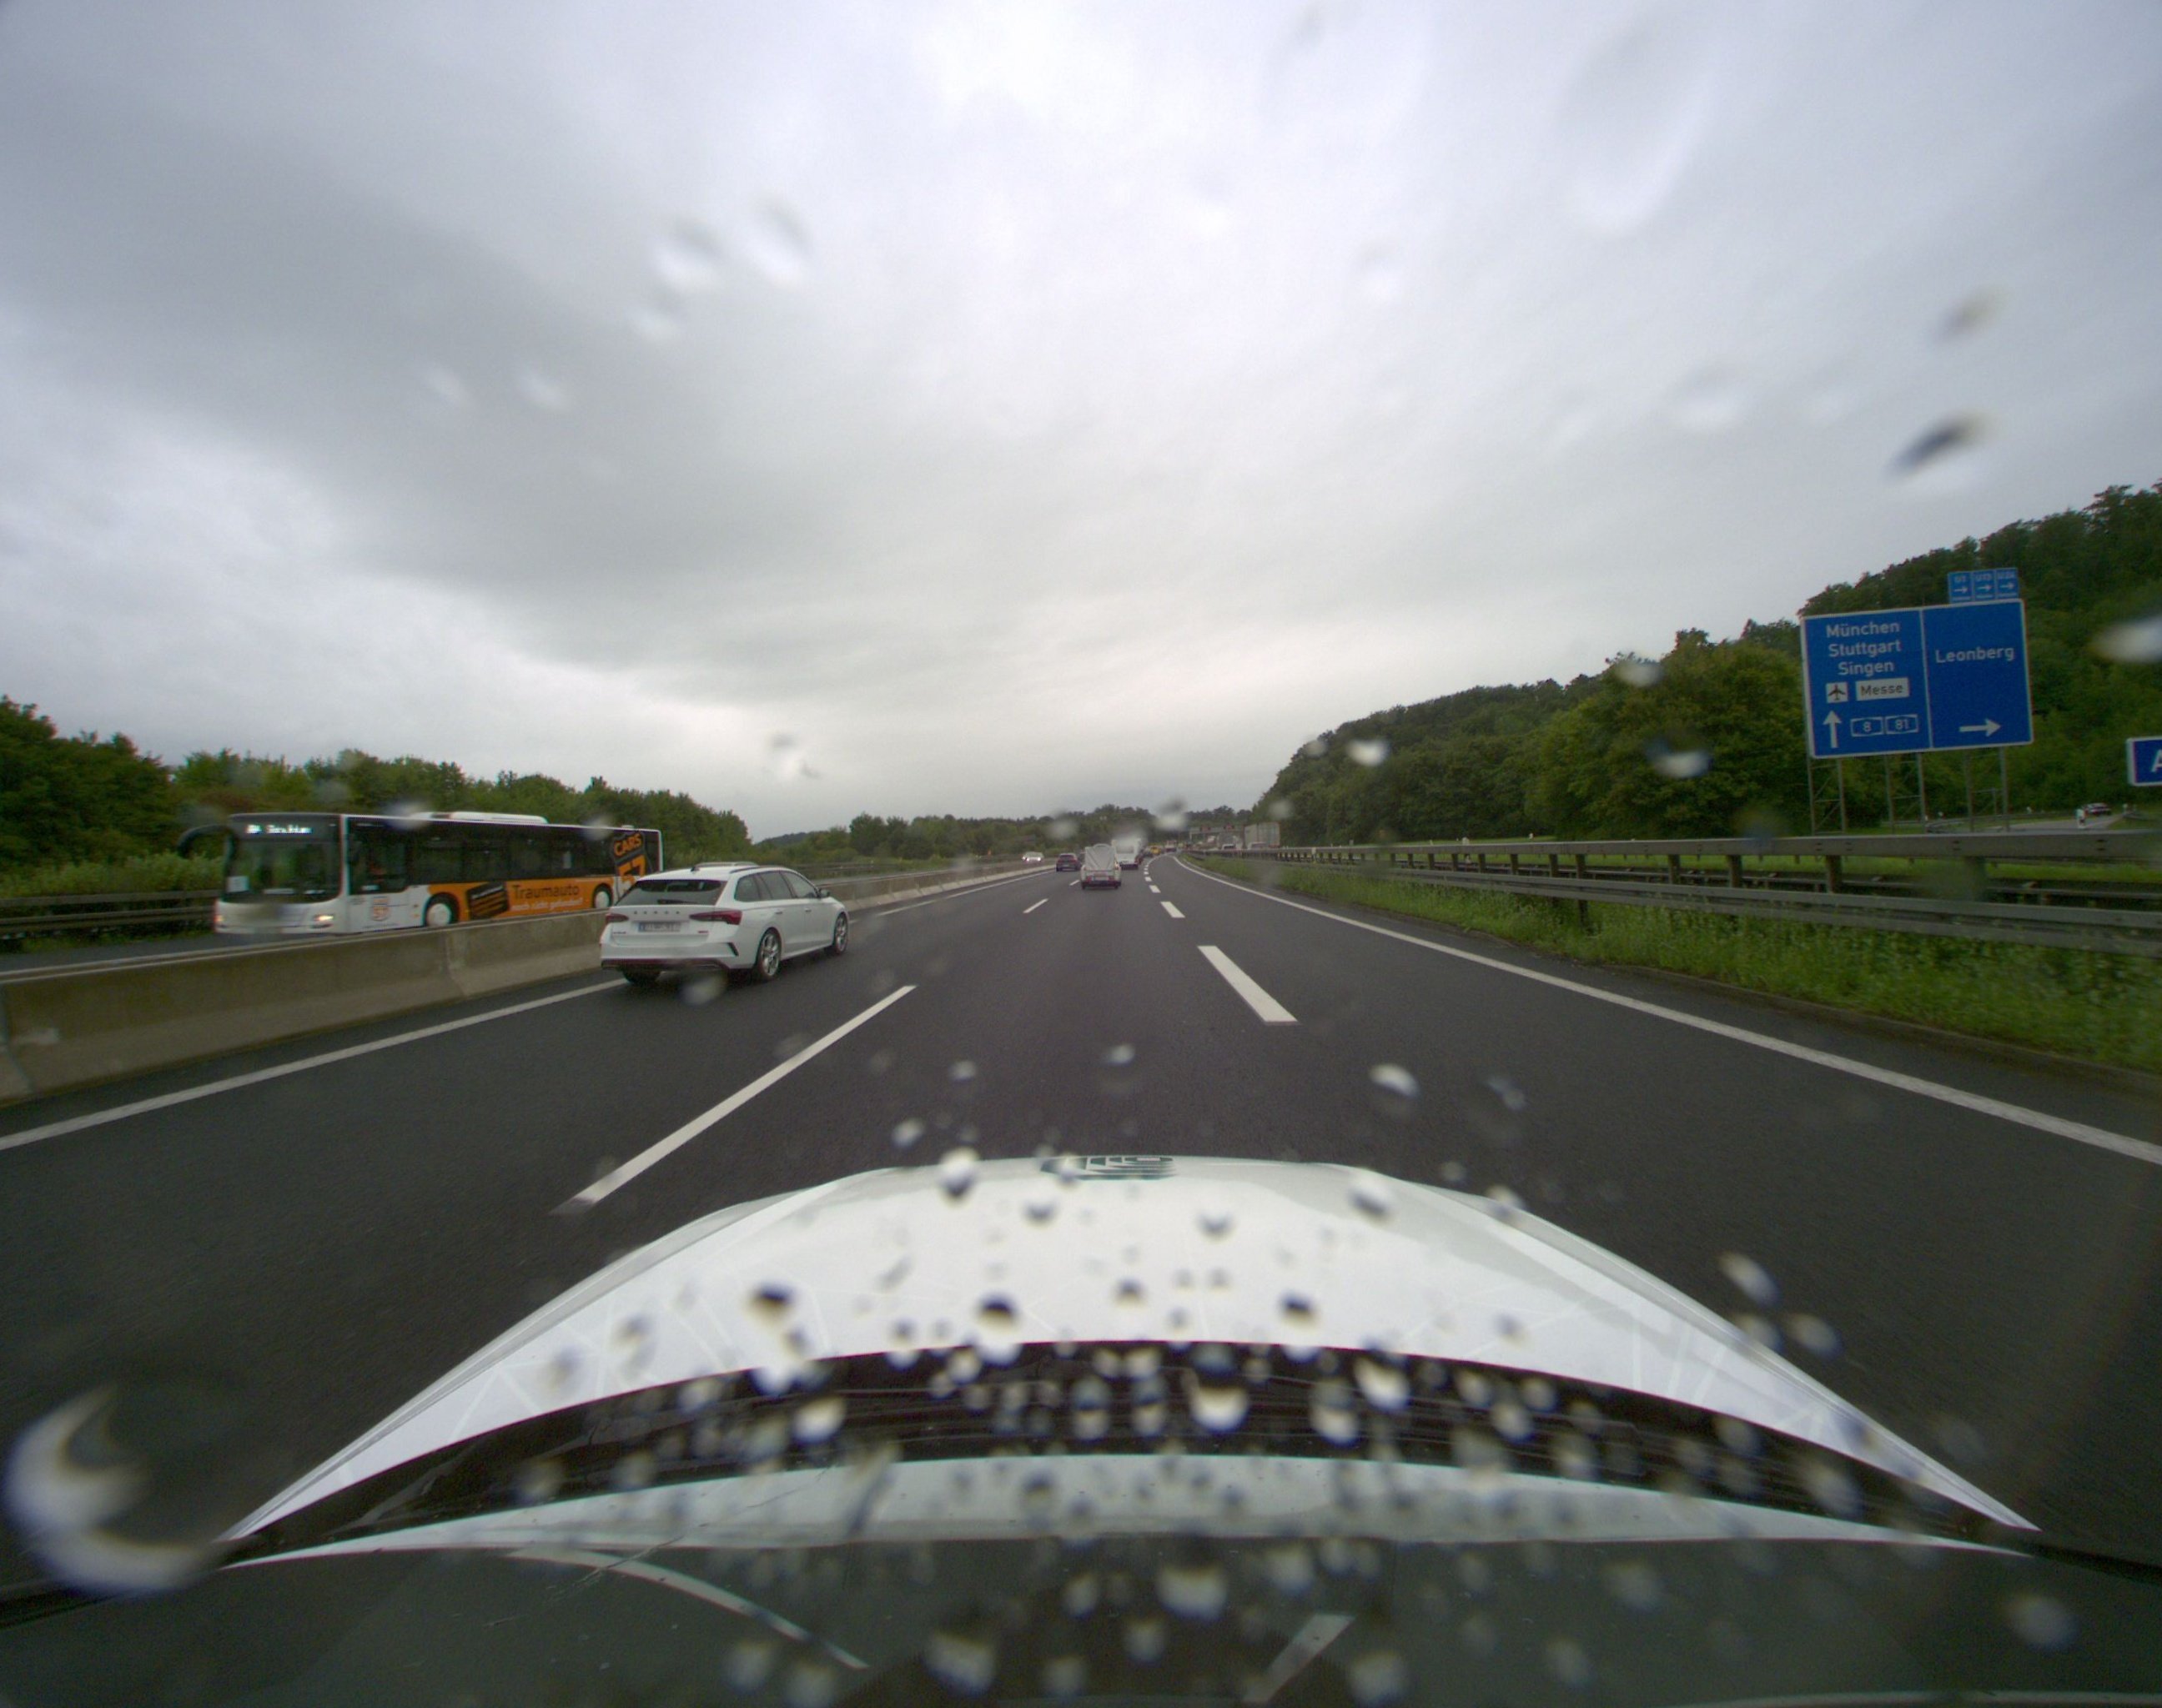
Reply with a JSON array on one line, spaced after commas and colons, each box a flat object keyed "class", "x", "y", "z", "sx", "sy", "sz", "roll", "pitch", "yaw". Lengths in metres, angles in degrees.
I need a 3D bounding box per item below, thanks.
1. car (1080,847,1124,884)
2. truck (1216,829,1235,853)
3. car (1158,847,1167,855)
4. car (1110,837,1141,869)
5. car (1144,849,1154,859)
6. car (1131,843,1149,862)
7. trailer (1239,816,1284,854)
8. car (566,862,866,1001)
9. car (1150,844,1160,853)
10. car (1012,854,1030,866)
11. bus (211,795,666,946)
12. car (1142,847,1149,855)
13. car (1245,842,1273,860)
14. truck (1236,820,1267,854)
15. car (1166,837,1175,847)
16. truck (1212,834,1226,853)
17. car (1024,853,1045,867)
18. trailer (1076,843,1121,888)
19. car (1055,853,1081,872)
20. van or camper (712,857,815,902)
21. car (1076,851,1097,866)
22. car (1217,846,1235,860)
[{"class": "car", "x": 1.059, "y": 0.526, "z": 39.024, "sx": 1.810, "sy": 1.616, "sz": 4.783, "roll": -2, "pitch": 0, "yaw": 4}, {"class": "truck", "x": 29.755, "y": -2.564, "z": 167.778, "sx": 3.198, "sy": 4.666, "sz": 13.061, "roll": -2, "pitch": 0, "yaw": 8}, {"class": "car", "x": 19.316, "y": -0.677, "z": 192.999, "sx": 2.026, "sy": 1.683, "sz": 4.010, "roll": -2, "pitch": 0, "yaw": 8}, {"class": "car", "x": 3.832, "y": -0.084, "z": 70.939, "sx": 2.498, "sy": 2.585, "sz": 5.702, "roll": -2, "pitch": 0, "yaw": 2}, {"class": "car", "x": 11.855, "y": 0.006, "z": 142.037, "sx": 1.669, "sy": 1.812, "sz": 4.002, "roll": -2, "pitch": 0, "yaw": 2}, {"class": "car", "x": 6.702, "y": -0.151, "z": 92.436, "sx": 1.666, "sy": 2.067, "sz": 4.010, "roll": -2, "pitch": 0, "yaw": 9}, {"class": "trailer", "x": 20.272, "y": -1.967, "z": 92.272, "sx": 2.594, "sy": 3.894, "sz": 12.496, "roll": -2, "pitch": 0, "yaw": 2}, {"class": "car", "x": -4.663, "y": 0.881, "z": 11.371, "sx": 1.811, "sy": 1.456, "sz": 4.781, "roll": -2, "pitch": 0, "yaw": 3}, {"class": "car", "x": 15.666, "y": -1.174, "z": 172.451, "sx": 1.666, "sy": 1.812, "sz": 4.009, "roll": -2, "pitch": 0, "yaw": 8}, {"class": "car", "x": -8.727, "y": 0.825, "z": 118.698, "sx": 1.882, "sy": 1.650, "sz": 4.610, "roll": -2, "pitch": 0, "yaw": 6}, {"class": "bus", "x": -16.044, "y": 0.364, "z": 22.435, "sx": 2.688, "sy": 2.958, "sz": 11.903, "roll": -2, "pitch": 0, "yaw": 2}, {"class": "car", "x": 17.163, "y": -0.672, "z": 216.393, "sx": 1.984, "sy": 2.014, "sz": 4.005, "roll": -2, "pitch": 0, "yaw": 5}, {"class": "car", "x": 14.951, "y": -0.265, "z": 68.519, "sx": 1.659, "sy": 1.382, "sz": 4.131, "roll": -4, "pitch": 0, "yaw": 4}, {"class": "truck", "x": 20.518, "y": -1.950, "z": 98.385, "sx": 2.605, "sy": 3.884, "sz": 6.397, "roll": -2, "pitch": 0, "yaw": 3}, {"class": "car", "x": 24.908, "y": -3.254, "z": 226.948, "sx": 2.502, "sy": 2.574, "sz": 5.322, "roll": -2, "pitch": 0, "yaw": 7}, {"class": "truck", "x": 36.370, "y": -2.682, "z": 214.378, "sx": 3.195, "sy": 4.666, "sz": 13.070, "roll": -2, "pitch": 0, "yaw": 11}, {"class": "car", "x": -5.913, "y": 0.795, "z": 104.588, "sx": 1.984, "sy": 1.711, "sz": 4.309, "roll": -2, "pitch": 0, "yaw": 5}, {"class": "trailer", "x": 0.815, "y": 0.487, "z": 35.750, "sx": 1.668, "sy": 1.812, "sz": 4.005, "roll": -2, "pitch": 0, "yaw": 4}, {"class": "car", "x": -1.036, "y": 0.694, "z": 67.504, "sx": 1.668, "sy": 1.456, "sz": 4.006, "roll": -2, "pitch": 0, "yaw": 5}, {"class": "van or camper", "x": -11.271, "y": 0.861, "z": 29.284, "sx": 1.741, "sy": 1.447, "sz": 4.588, "roll": -2, "pitch": 0, "yaw": 2}, {"class": "car", "x": 0.593, "y": 0.471, "z": 85.628, "sx": 1.756, "sy": 1.456, "sz": 4.006, "roll": -2, "pitch": 0, "yaw": 6}, {"class": "car", "x": 17.285, "y": -0.091, "z": 97.180, "sx": 1.761, "sy": 1.610, "sz": 4.651, "roll": -2, "pitch": 0, "yaw": 6}]
